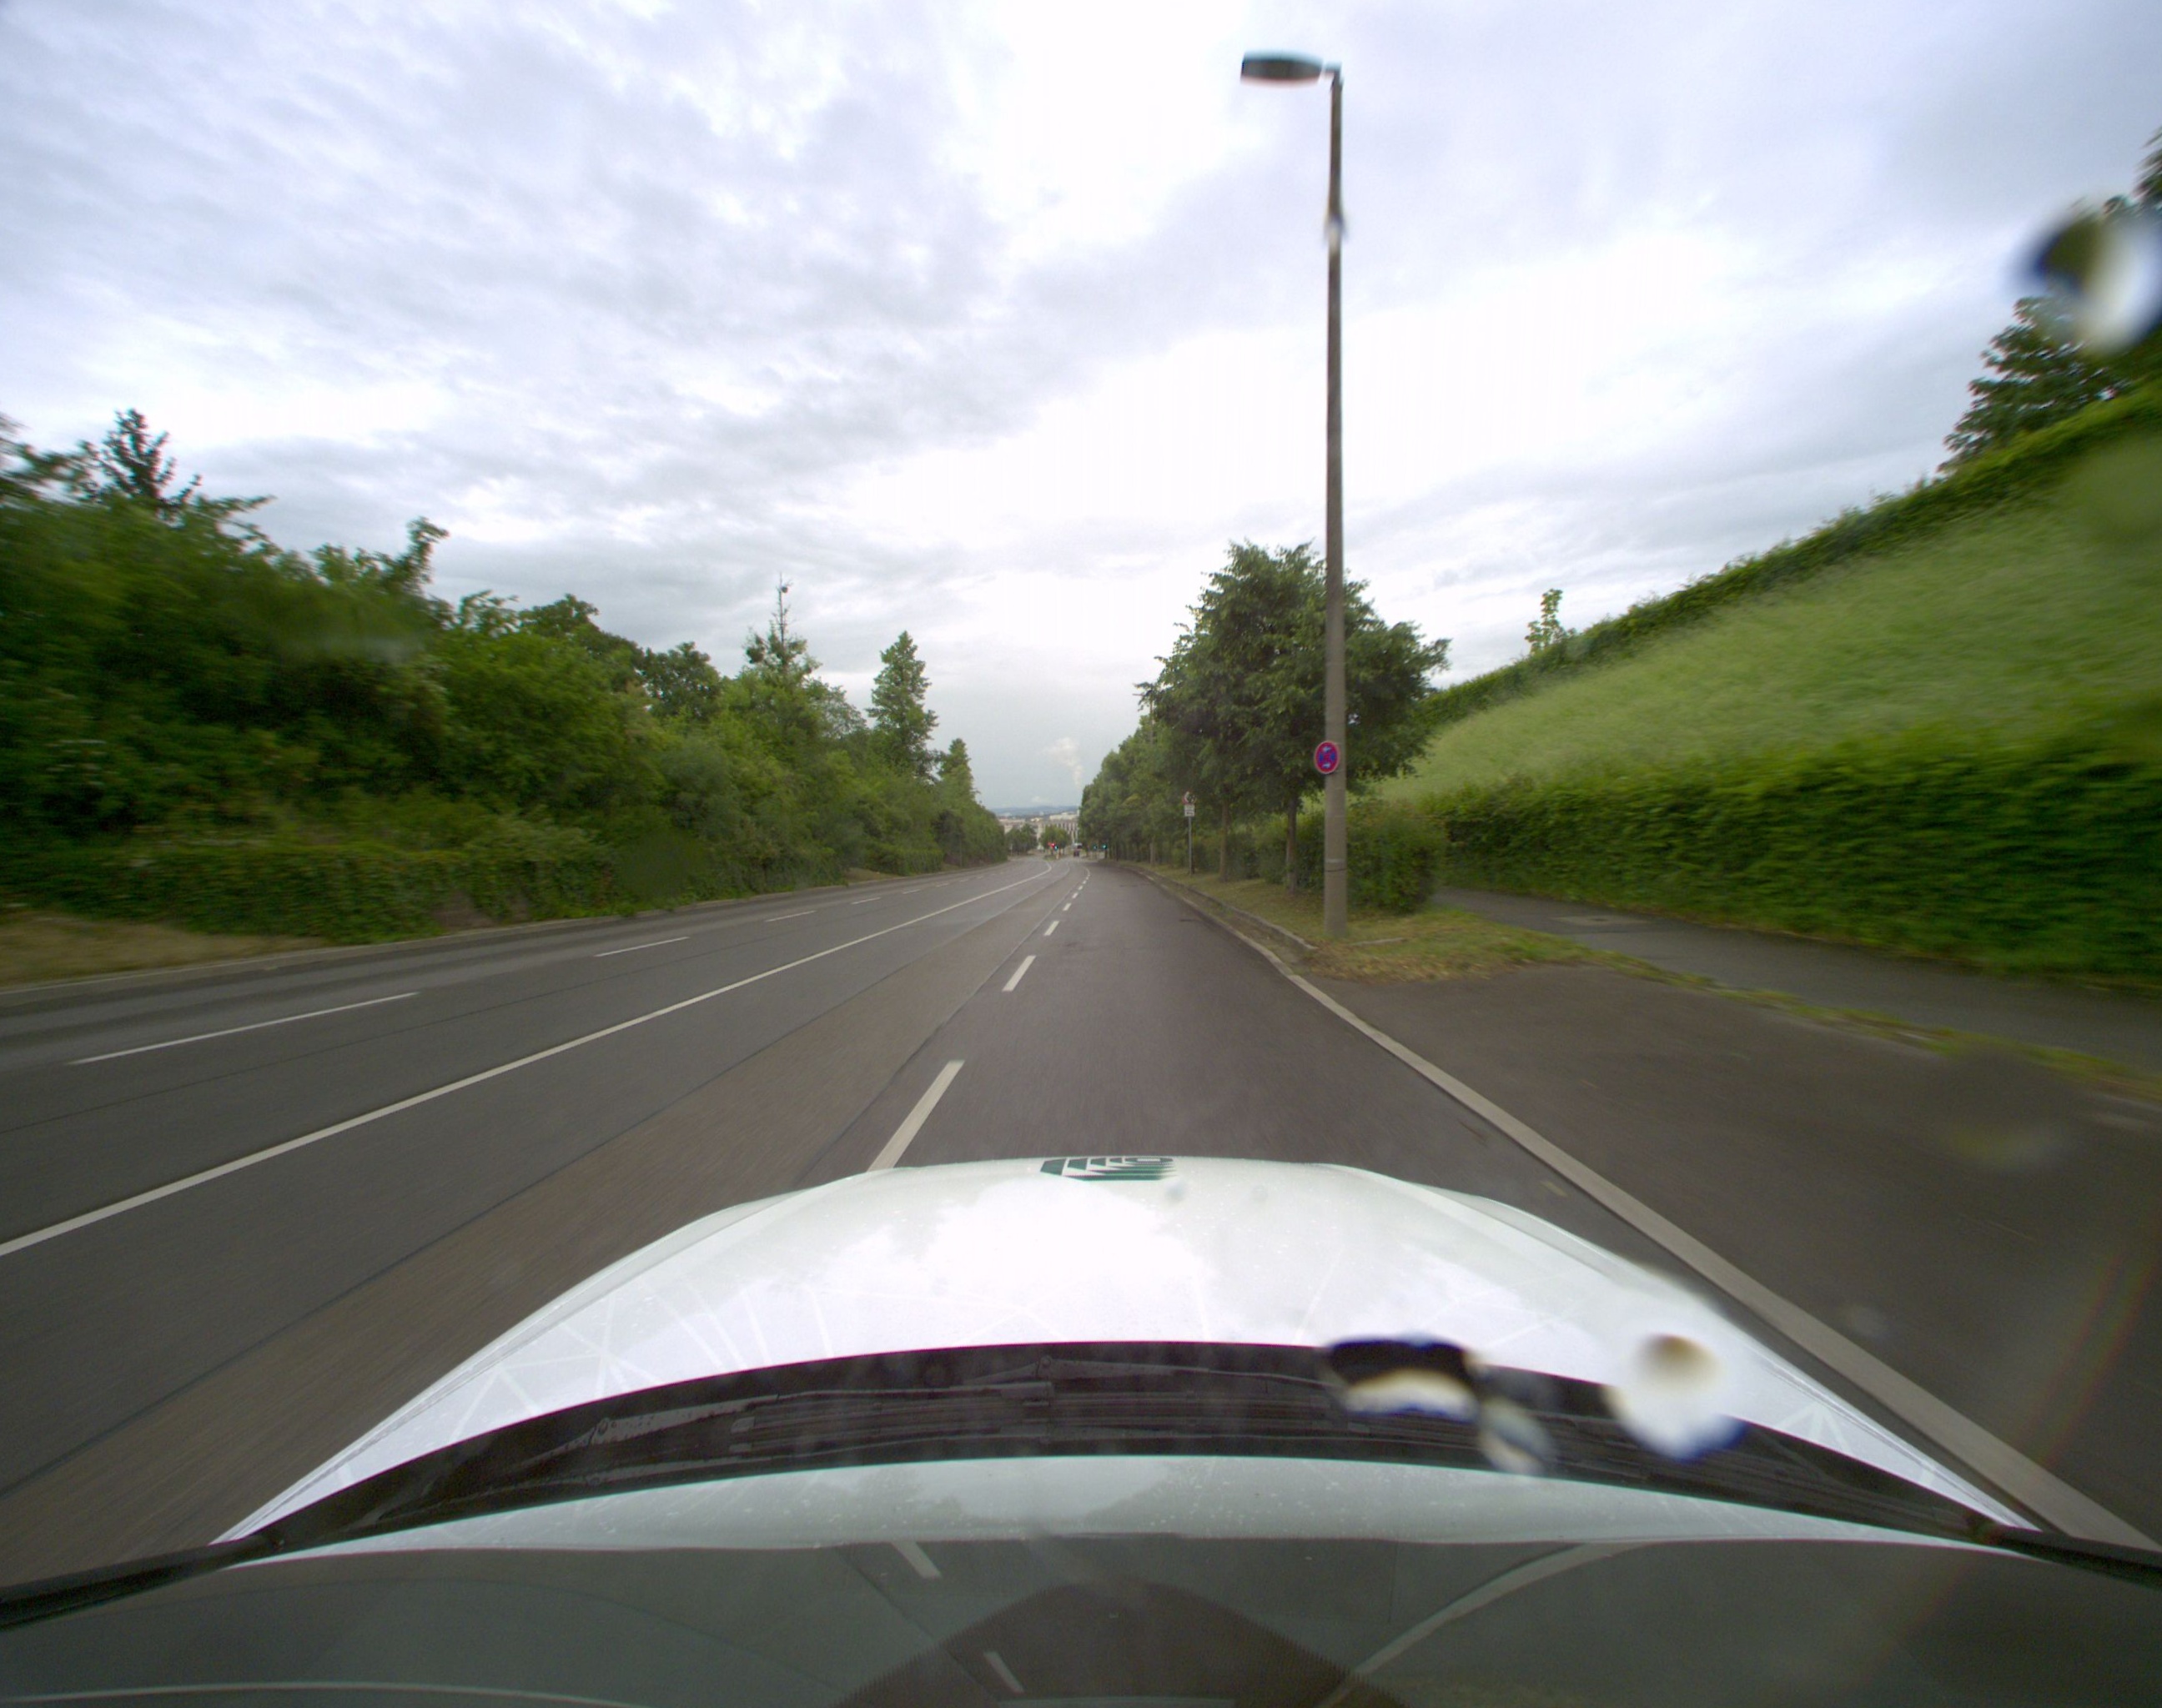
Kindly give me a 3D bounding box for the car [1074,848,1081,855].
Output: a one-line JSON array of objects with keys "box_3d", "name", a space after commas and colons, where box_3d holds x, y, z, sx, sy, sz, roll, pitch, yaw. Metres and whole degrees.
[{"box_3d": [-1.070, -0.621, 226.174, 1.843, 1.702, 3.793, 1, -1, 1], "name": "car"}]
